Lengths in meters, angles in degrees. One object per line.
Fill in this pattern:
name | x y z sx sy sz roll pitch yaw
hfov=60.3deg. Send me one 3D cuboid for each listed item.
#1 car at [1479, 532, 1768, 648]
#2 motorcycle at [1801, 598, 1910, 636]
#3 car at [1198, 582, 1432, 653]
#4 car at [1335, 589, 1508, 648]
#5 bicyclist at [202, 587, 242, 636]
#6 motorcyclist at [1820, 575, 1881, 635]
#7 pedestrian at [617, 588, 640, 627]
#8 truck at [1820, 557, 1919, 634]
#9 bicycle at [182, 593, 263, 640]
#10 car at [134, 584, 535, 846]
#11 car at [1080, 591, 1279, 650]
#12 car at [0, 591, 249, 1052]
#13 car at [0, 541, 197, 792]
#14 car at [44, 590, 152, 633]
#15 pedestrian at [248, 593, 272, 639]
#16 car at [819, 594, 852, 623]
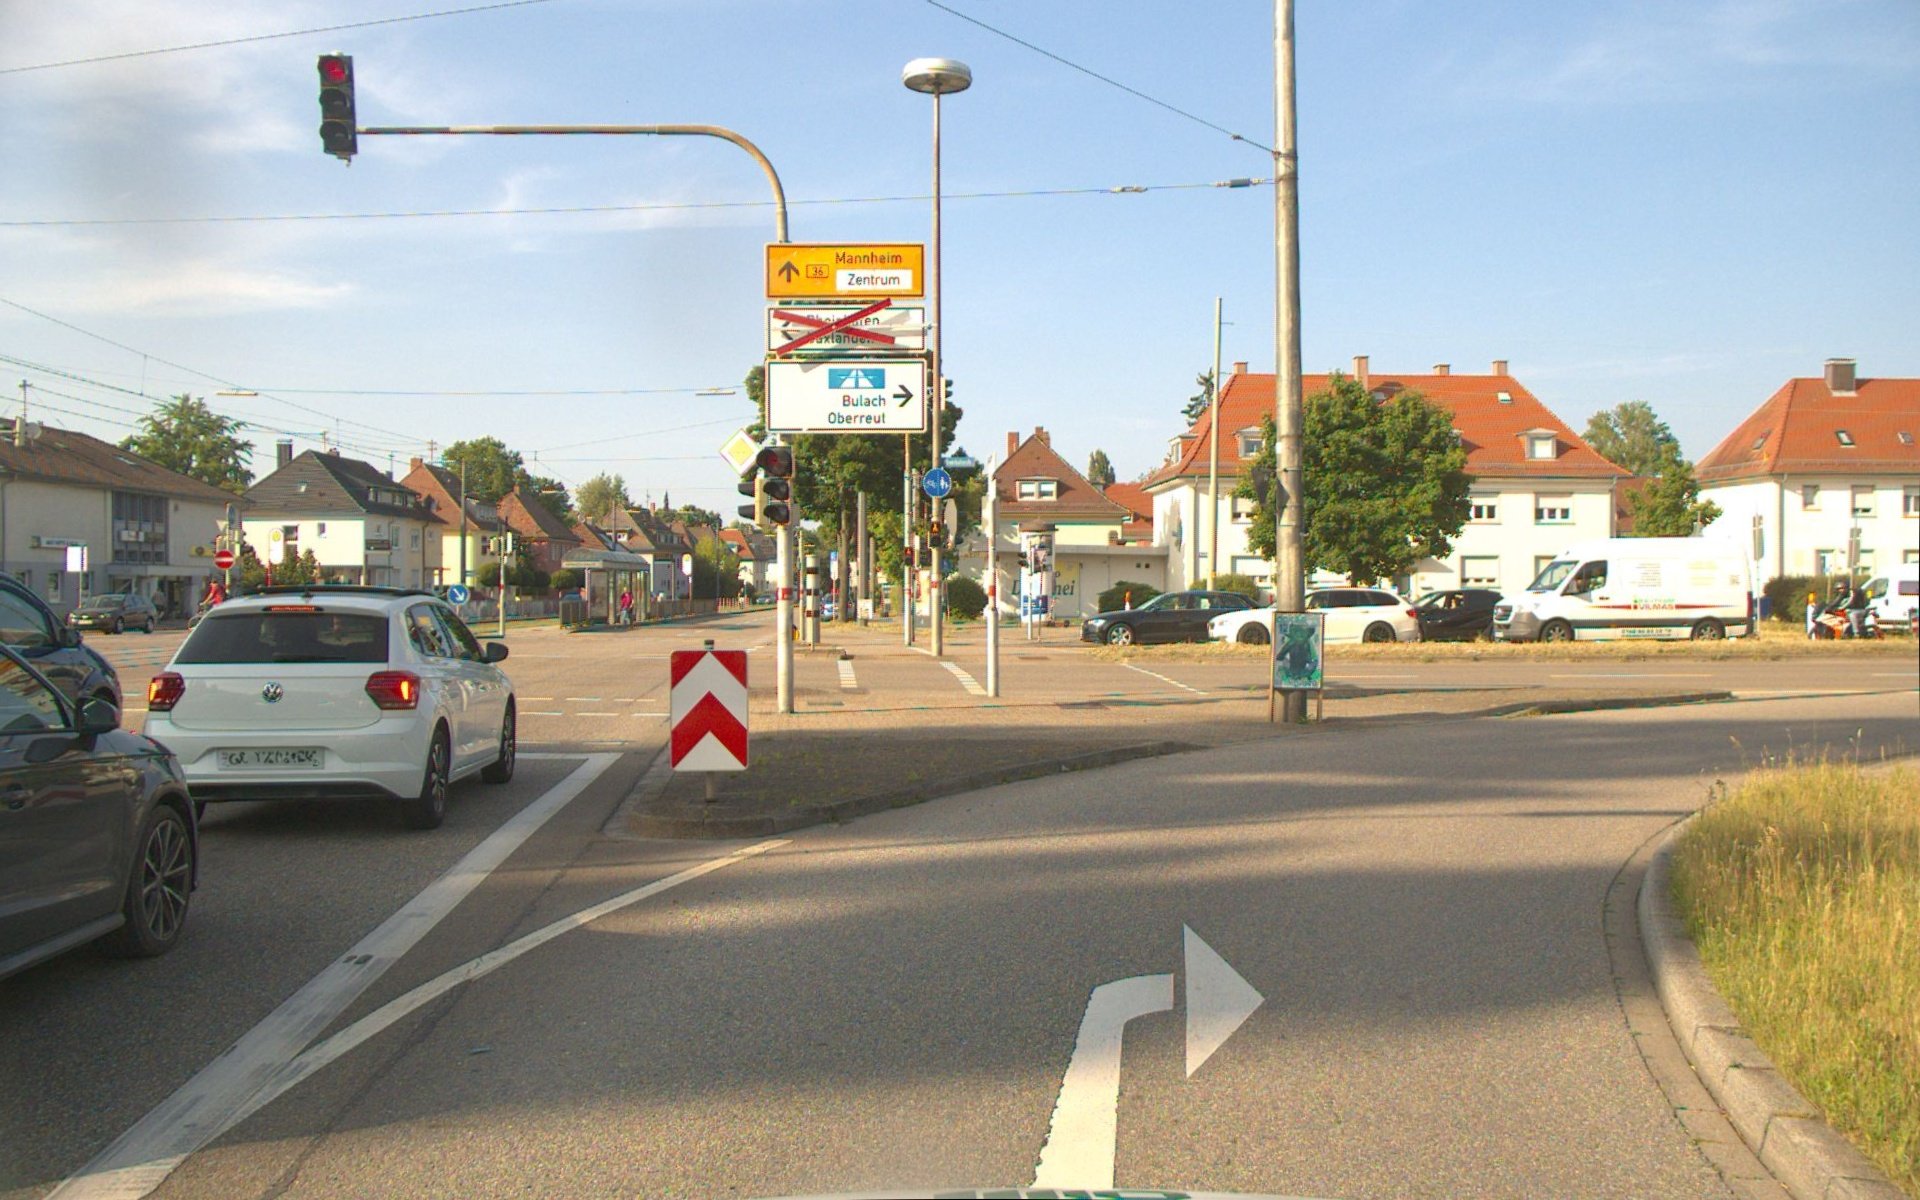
car | 15.530 -0.223 38.889 6.086 2.629 1.998 0 0 -4
motorcycle | 20.850 0.390 38.510 2.227 0.882 0.690 0 0 -6
car | 8.163 0.391 38.242 4.994 1.590 1.838 0 0 -4
car | 11.701 0.457 42.051 3.908 1.478 1.714 0 0 -4
bicyclist | -22.569 0.349 50.607 0.869 1.456 1.133 2 -1 -13
motorcyclist | 20.724 0.112 38.494 1.045 1.375 0.679 0 0 -5
pedestrian | -13.244 0.317 66.040 0.738 1.525 0.827 1 -1 -2
truck | 32.730 -0.150 55.801 2.255 2.568 6.269 0 1 -39
bicycle | -22.559 0.506 50.616 2.038 1.371 1.105 2 -1 -14
car | -4.057 0.640 11.394 1.624 1.468 4.008 0 0 -6
car | 5.483 0.507 41.612 4.728 1.436 1.714 0 0 -4
car | -3.786 0.686 5.298 1.609 1.421 3.824 0 0 -4
car | -7.187 0.447 11.728 1.476 1.680 4.742 0 0 -2
car | -32.282 0.416 62.077 1.954 1.534 4.603 0 0 -5
pedestrian | -22.647 0.513 53.489 0.567 1.456 0.546 2 -1 -10
car | -6.402 0.433 85.307 1.641 1.422 3.997 1 -1 -4
